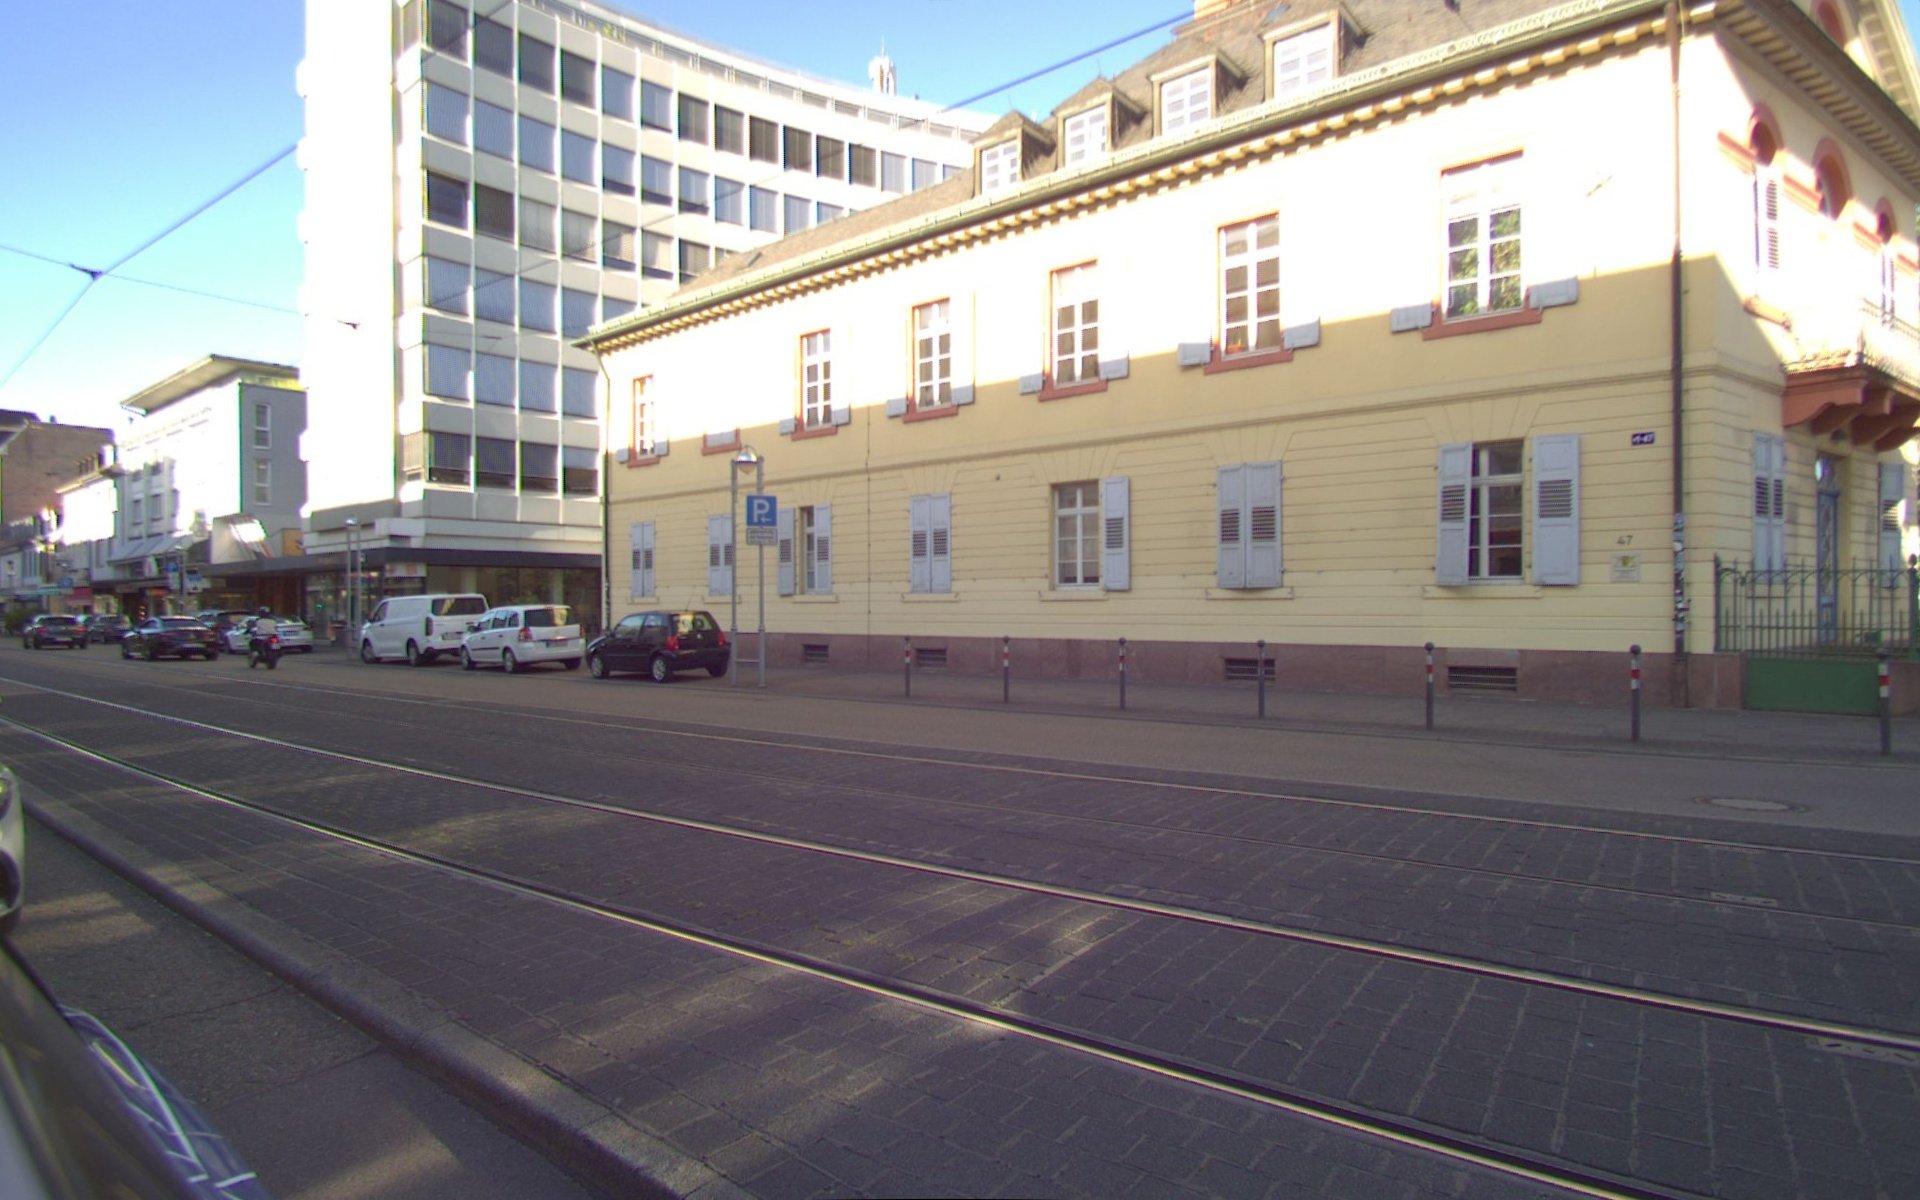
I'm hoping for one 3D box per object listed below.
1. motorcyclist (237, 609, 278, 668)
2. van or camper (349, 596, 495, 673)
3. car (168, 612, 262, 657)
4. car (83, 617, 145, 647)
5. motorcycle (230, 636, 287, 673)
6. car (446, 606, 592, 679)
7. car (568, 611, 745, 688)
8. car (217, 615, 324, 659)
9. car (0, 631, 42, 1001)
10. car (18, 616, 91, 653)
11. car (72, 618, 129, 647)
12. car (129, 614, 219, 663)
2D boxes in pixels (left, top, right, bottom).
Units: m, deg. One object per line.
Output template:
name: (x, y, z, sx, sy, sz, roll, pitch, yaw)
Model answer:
motorcyclist: (-19.229, 1.049, 27.712, 0.882, 1.570, 0.647, -1, 0, 34)
van or camper: (-15.501, 0.916, 29.064, 4.792, 1.988, 1.936, -1, 1, 39)
car: (-30.126, 1.361, 40.900, 4.275, 1.654, 1.908, -1, 1, 37)
car: (-43.612, 1.613, 52.167, 3.593, 1.427, 1.764, -1, 0, 38)
motorcycle: (-19.224, 1.479, 27.721, 2.151, 0.933, 0.594, -1, 0, 35)
car: (-11.124, 0.995, 25.404, 4.175, 1.632, 1.758, 0, 1, 42)
car: (-6.565, 0.987, 21.712, 3.958, 1.450, 1.759, 0, 1, 40)
car: (-25.593, 1.344, 37.531, 4.285, 1.463, 1.909, -1, 1, 36)
car: (-6.144, 0.860, 4.928, 4.771, 1.450, 1.845, 0, -2, 40)
car: (-39.216, 1.491, 43.817, 3.856, 1.521, 1.759, -1, -2, 39)
car: (-47.516, 1.773, 55.925, 3.830, 1.531, 1.764, -1, 0, 40)
car: (-26.288, 1.262, 33.775, 4.671, 1.521, 1.756, -1, -2, 44)
